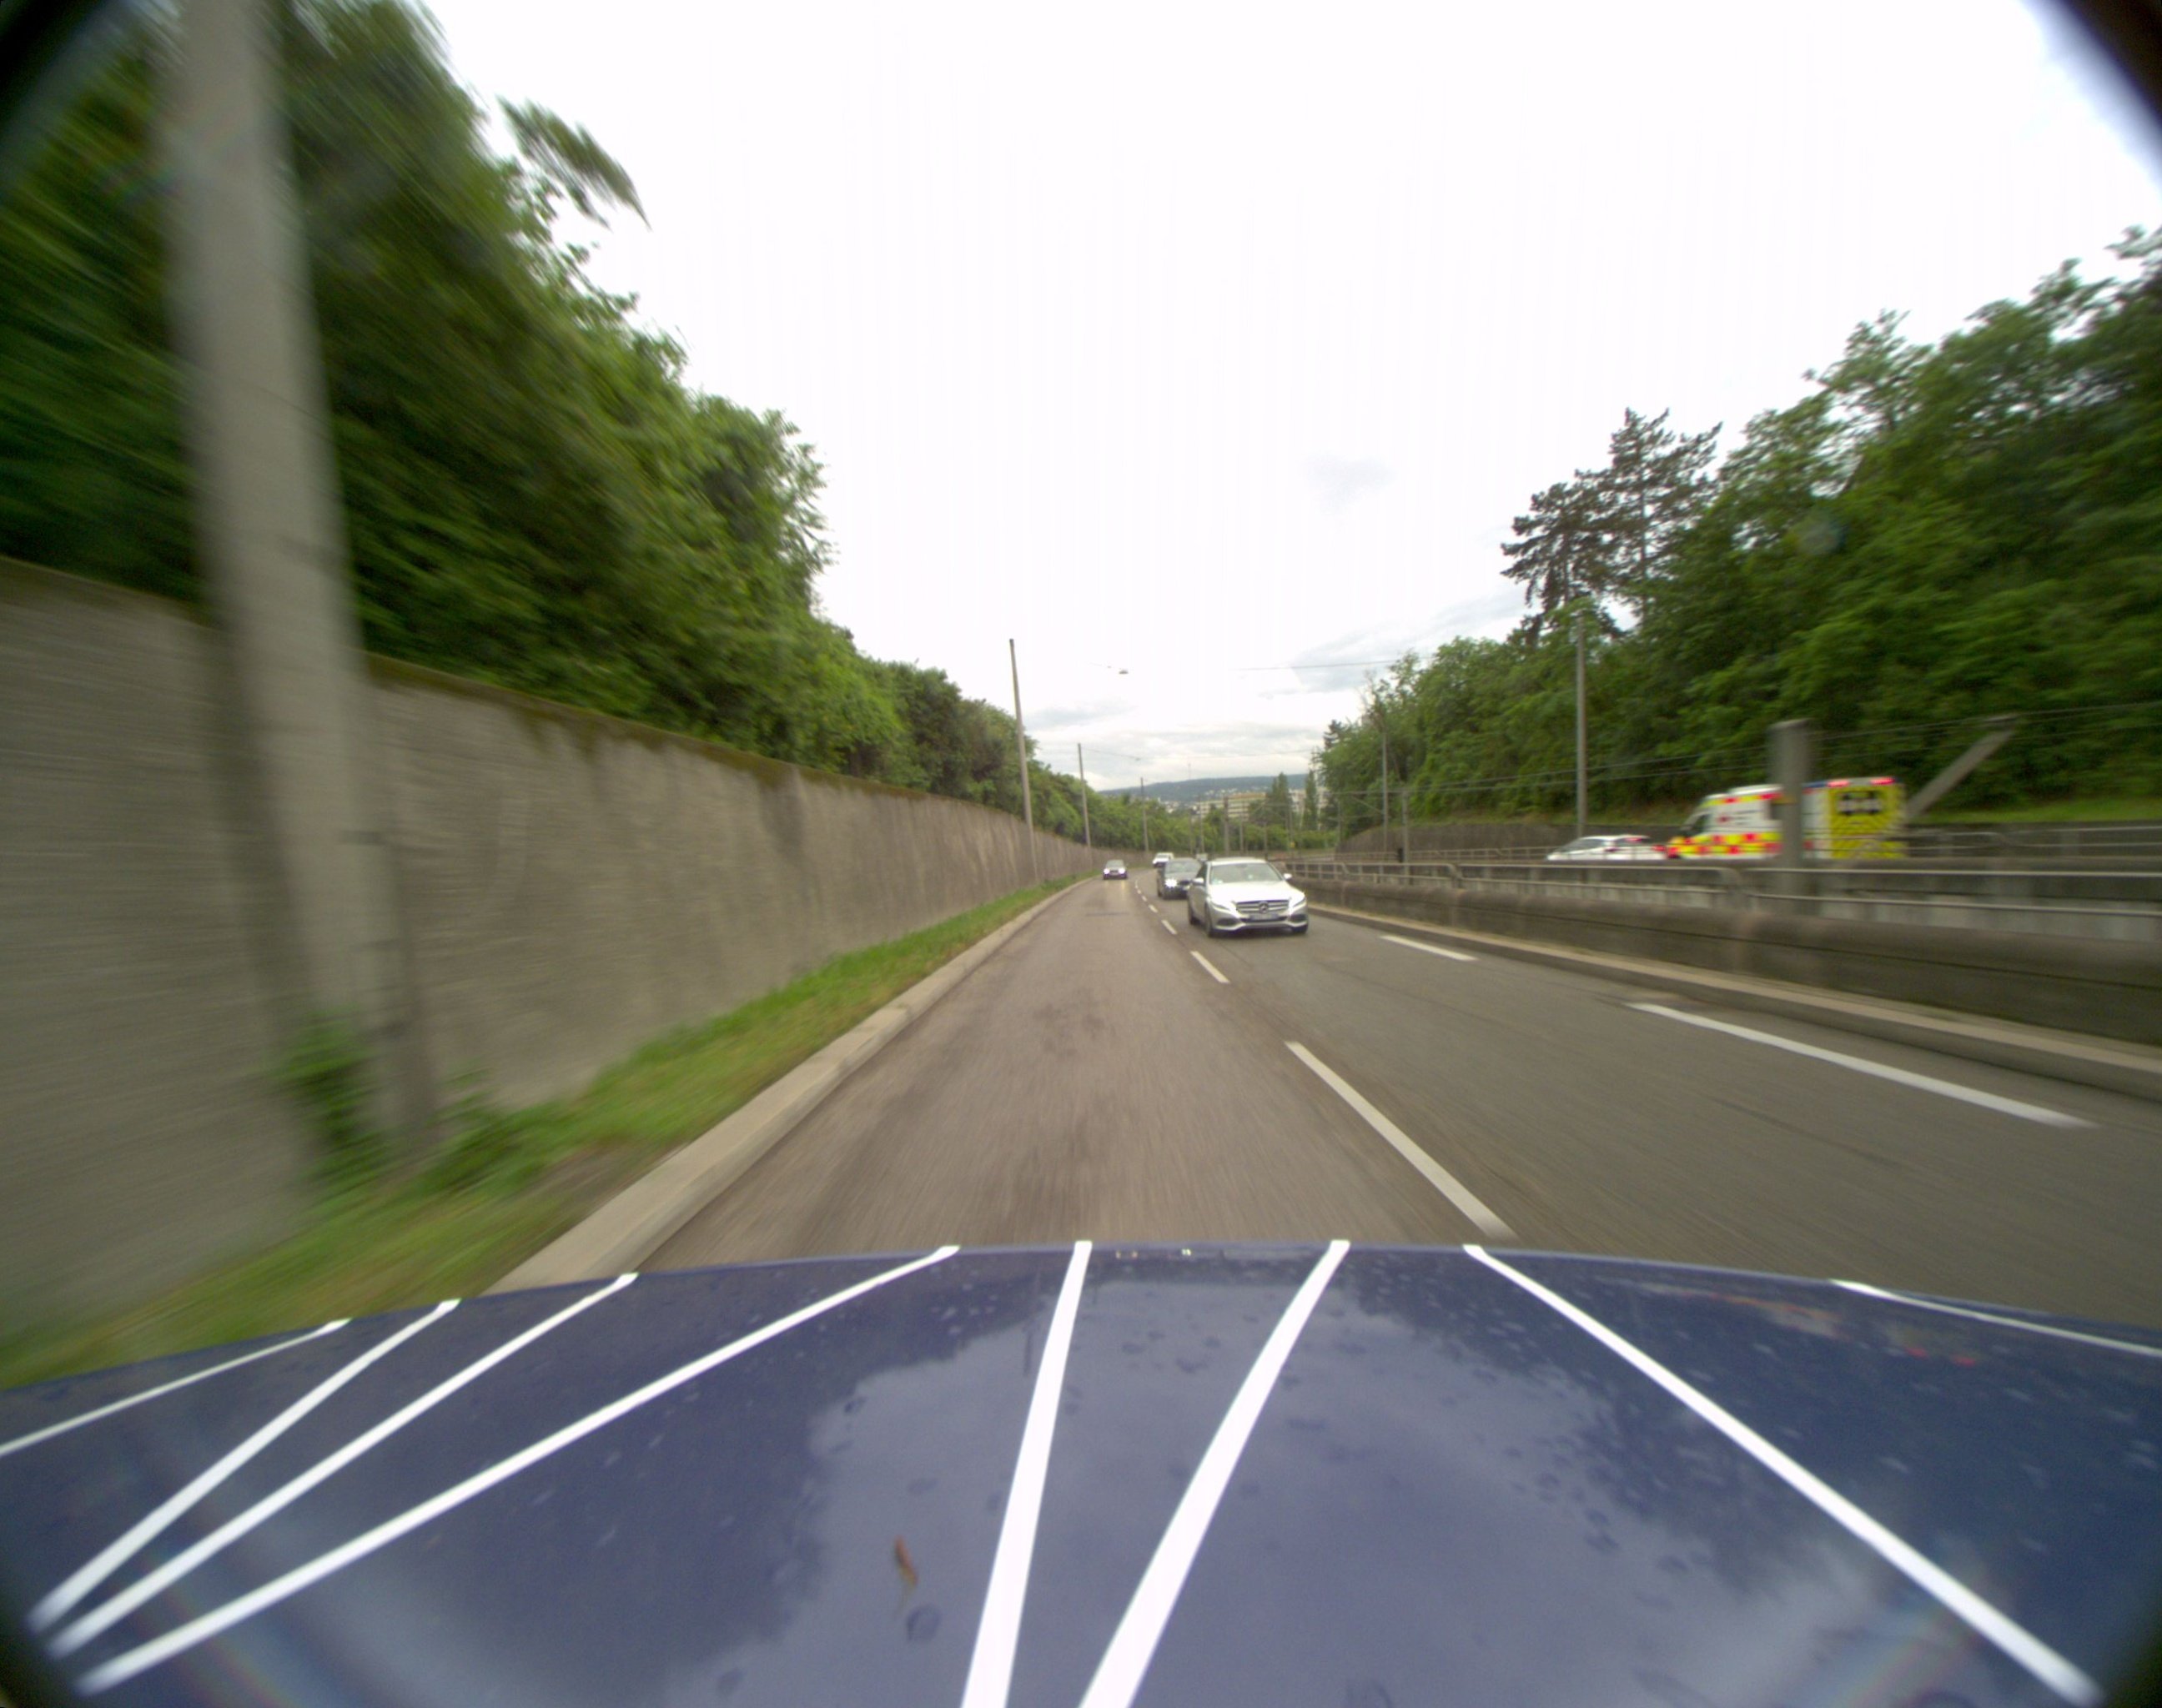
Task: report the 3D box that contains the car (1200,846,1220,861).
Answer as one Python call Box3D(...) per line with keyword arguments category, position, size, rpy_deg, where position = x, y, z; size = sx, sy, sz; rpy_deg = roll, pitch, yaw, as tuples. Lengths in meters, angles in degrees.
Box3D(category="car", position=(18.174, -0.138, 106.881), size=(1.996, 2.002, 4.500), rpy_deg=(-1, 0, 20))

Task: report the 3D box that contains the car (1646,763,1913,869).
Box3D(category="car", position=(20.692, -1.026, 23.110), size=(2.188, 2.719, 6.343), rpy_deg=(-2, 1, -1))

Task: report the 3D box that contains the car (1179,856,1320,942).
Box3D(category="car", position=(3.224, 0.796, 15.407), size=(1.861, 1.395, 4.314), rpy_deg=(-3, 0, 0))

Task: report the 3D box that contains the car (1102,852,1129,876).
Box3D(category="car", position=(2.571, 0.693, 56.596), size=(1.810, 1.501, 3.999), rpy_deg=(-4, 2, 2))

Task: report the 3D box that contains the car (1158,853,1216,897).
Box3D(category="car", position=(3.832, 0.716, 28.021), size=(1.729, 1.462, 3.888), rpy_deg=(-2, 0, 3))

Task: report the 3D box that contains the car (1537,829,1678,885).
Box3D(category="car", position=(17.571, 0.067, 25.610), size=(1.822, 1.694, 4.110), rpy_deg=(-2, 1, -1))

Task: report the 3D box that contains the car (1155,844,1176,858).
Box3D(category="car", position=(10.857, -0.409, 97.564), size=(1.808, 1.501, 4.003), rpy_deg=(-4, 2, 19))
